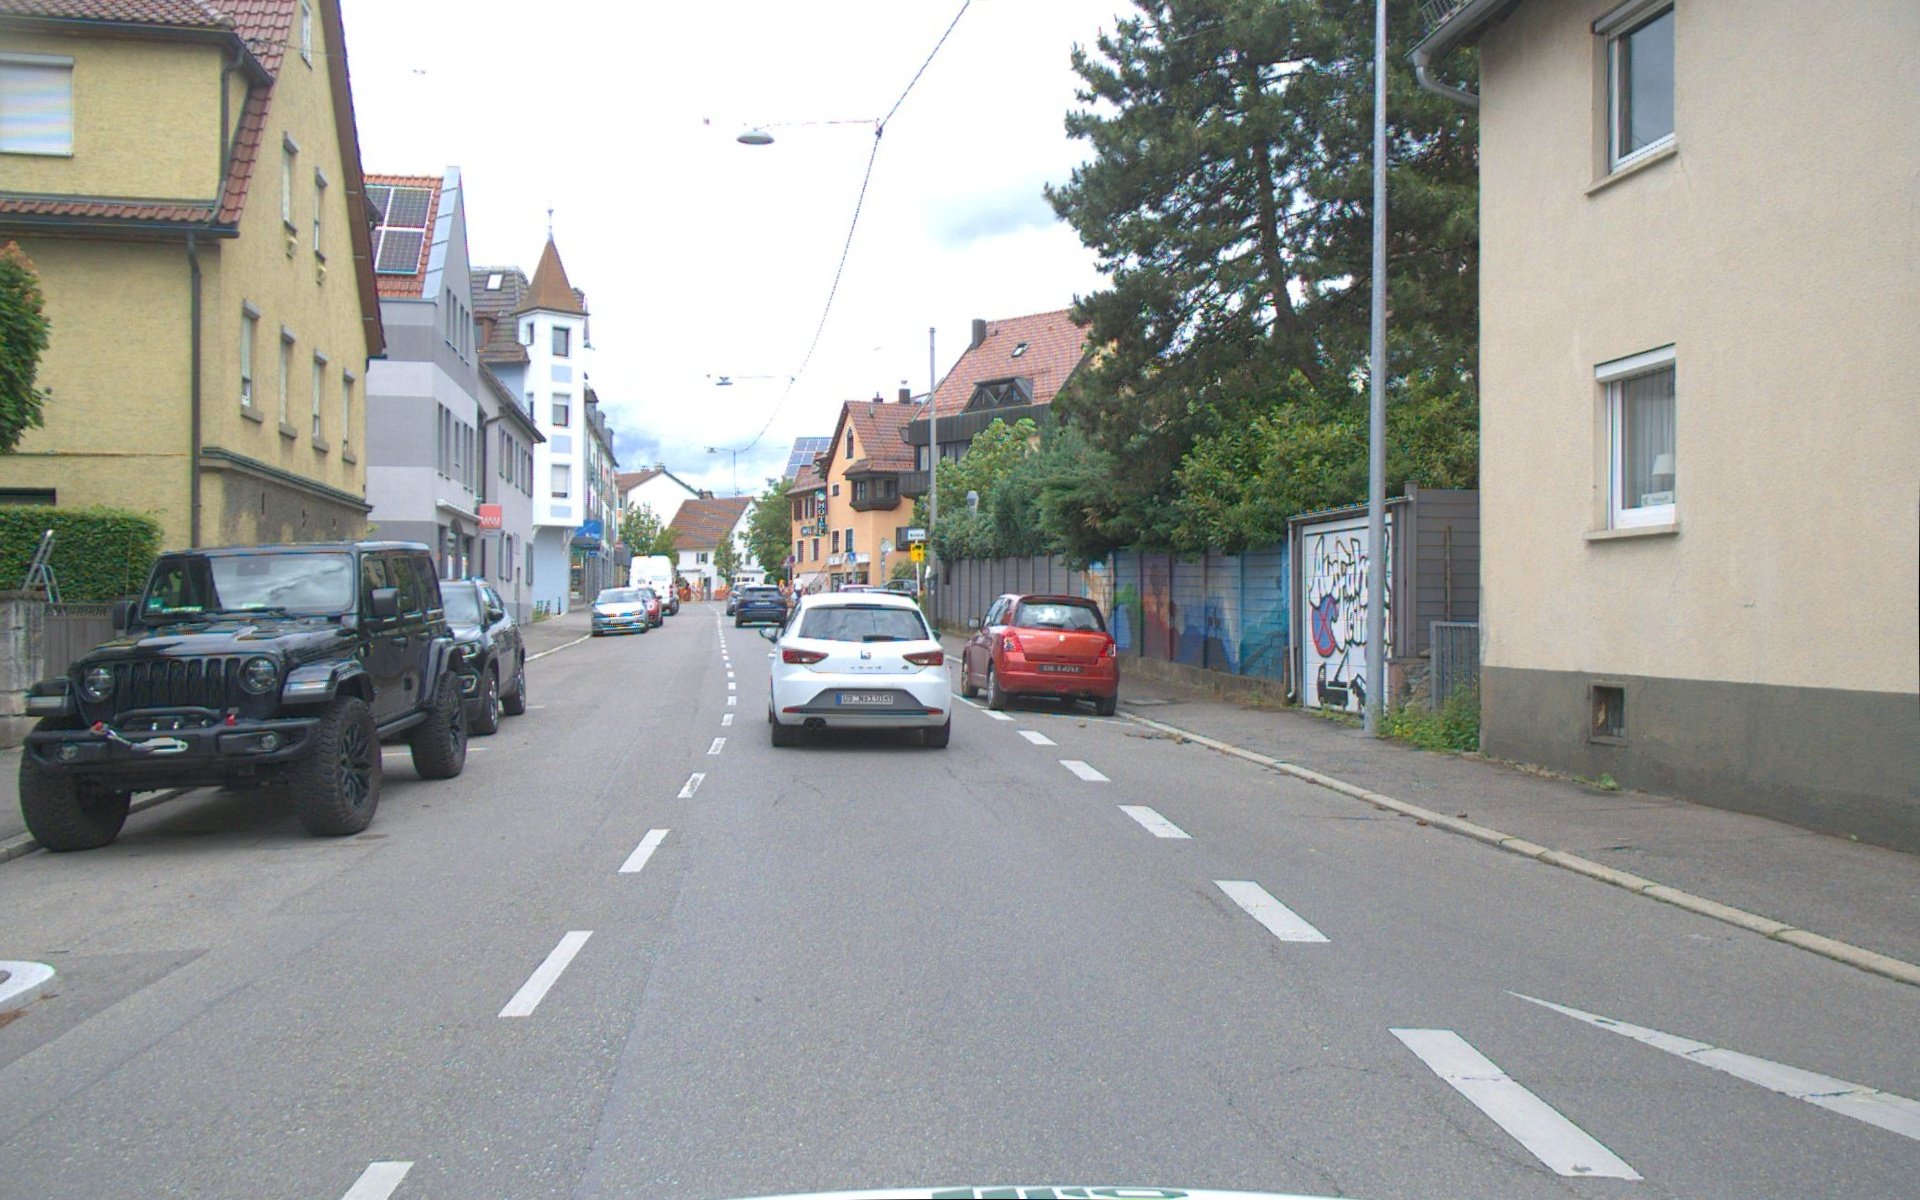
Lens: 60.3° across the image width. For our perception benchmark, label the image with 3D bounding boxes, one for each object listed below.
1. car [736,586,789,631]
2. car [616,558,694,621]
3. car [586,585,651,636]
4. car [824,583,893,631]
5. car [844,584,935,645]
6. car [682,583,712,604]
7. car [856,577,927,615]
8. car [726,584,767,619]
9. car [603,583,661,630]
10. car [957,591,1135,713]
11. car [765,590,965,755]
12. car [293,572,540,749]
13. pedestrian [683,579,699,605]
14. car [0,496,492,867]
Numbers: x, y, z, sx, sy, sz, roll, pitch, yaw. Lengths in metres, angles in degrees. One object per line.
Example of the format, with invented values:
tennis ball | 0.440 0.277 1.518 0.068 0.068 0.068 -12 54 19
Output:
car | -6.766 0.272 56.371 1.725 1.477 3.993 0 0 -8
car | -13.810 -0.481 75.160 2.107 2.734 5.548 1 1 4
car | -10.962 0.313 53.285 1.766 1.505 4.043 -3 1 -9
car | -3.317 0.197 53.500 1.727 1.477 3.989 0 0 -11
car | -1.843 0.346 41.986 1.727 1.477 3.989 0 0 -11
car | -22.272 -0.528 140.065 1.757 1.731 4.001 1 0 2
car | -3.017 -0.174 72.770 2.766 1.538 1.699 1 2 -20
car | -9.450 0.057 73.030 1.726 1.477 3.992 0 0 -8
car | -11.643 0.207 58.859 1.766 1.505 4.043 -3 1 -9
car | 1.078 0.646 22.700 1.725 1.477 3.994 2 0 -7
car | -1.082 0.641 16.945 1.725 1.477 3.993 0 0 -8
car | -5.997 0.560 18.803 1.861 1.647 4.517 -2 2 -8
pedestrian | -21.782 -0.656 134.010 1.205 2.049 1.173 0 0 -8
car | -4.849 0.435 11.880 1.955 2.048 4.665 -3 1 -5
